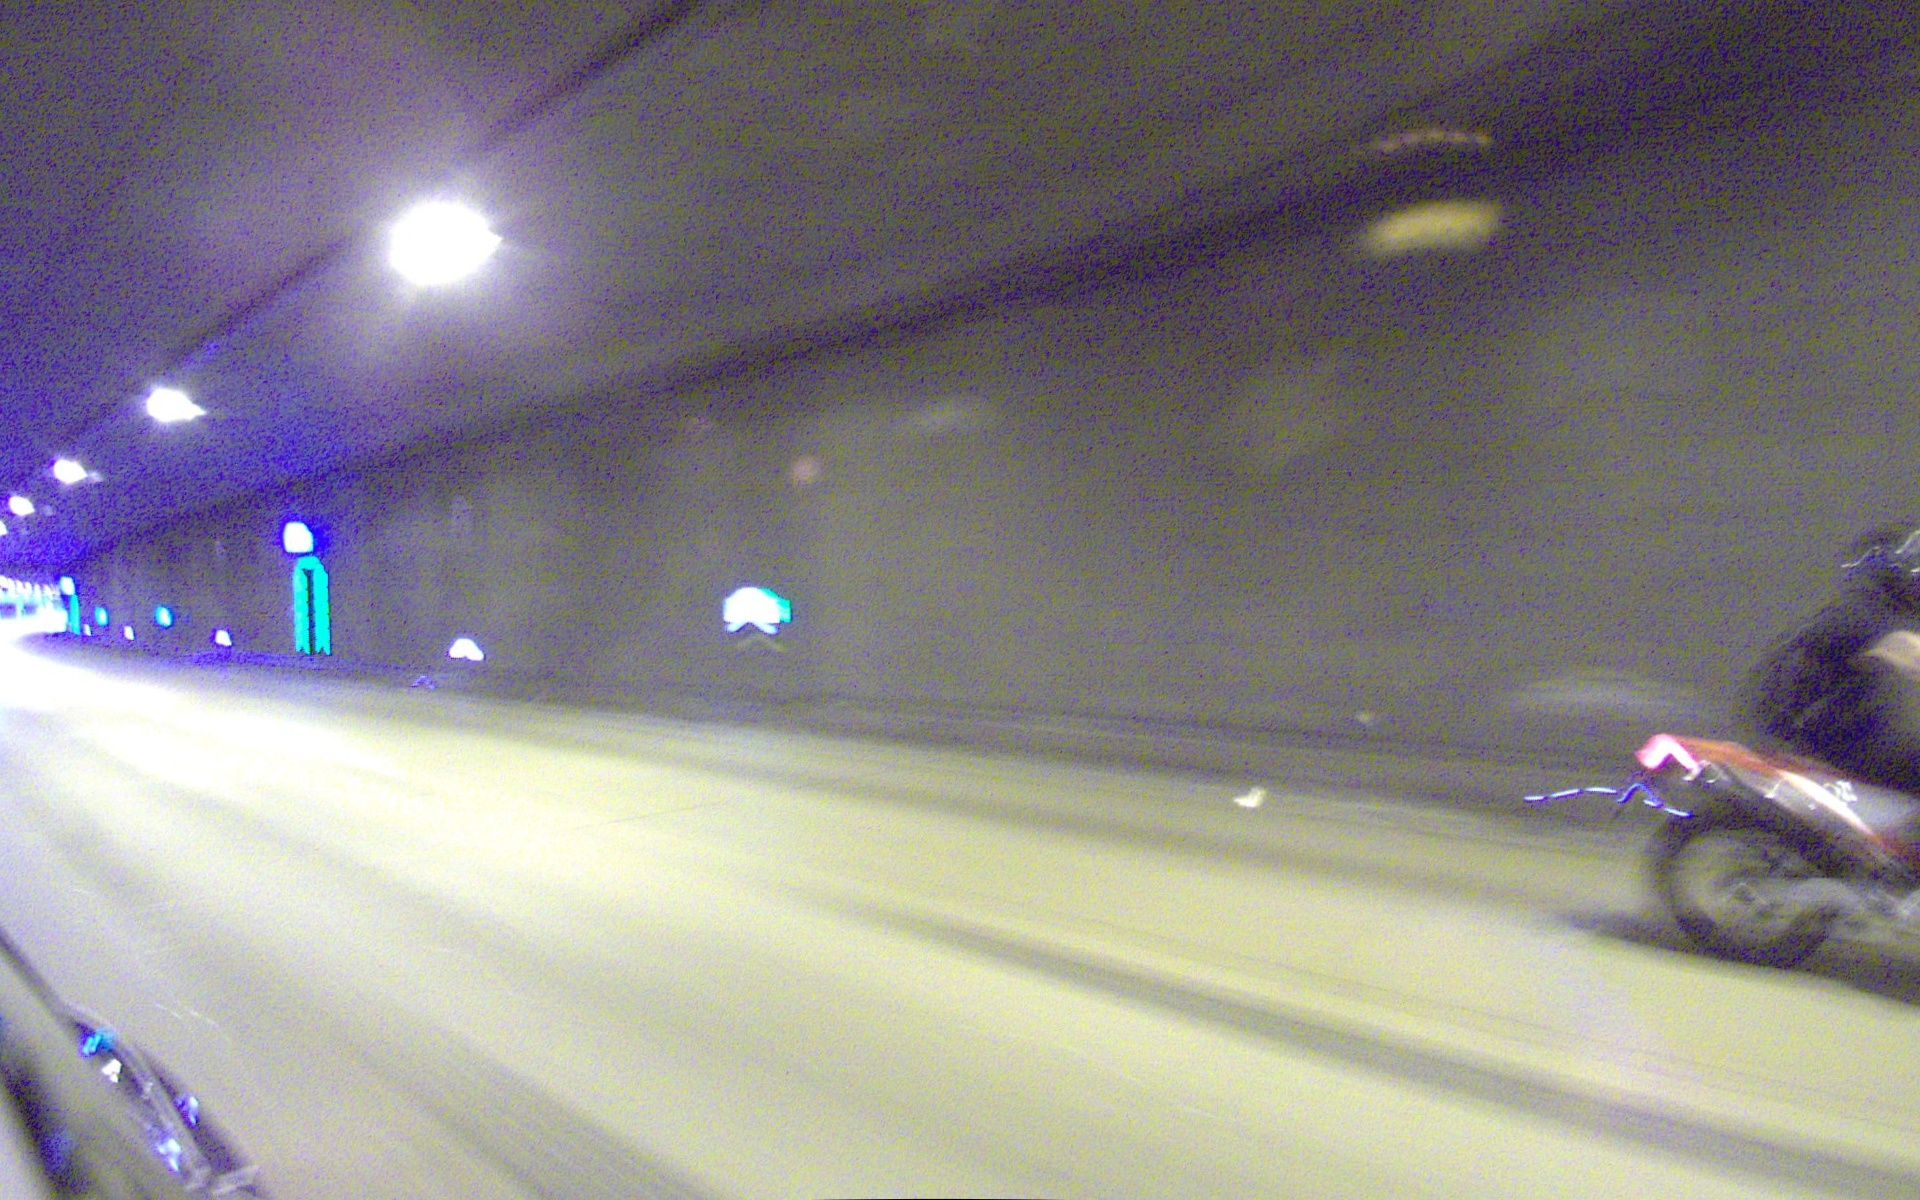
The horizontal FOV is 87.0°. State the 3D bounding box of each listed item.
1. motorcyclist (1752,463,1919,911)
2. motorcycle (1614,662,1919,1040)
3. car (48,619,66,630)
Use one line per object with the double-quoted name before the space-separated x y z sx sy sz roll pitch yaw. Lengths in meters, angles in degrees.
"motorcyclist" 3.461 0.297 3.589 0.619 1.500 0.892 2 -2 -38
"motorcycle" 3.736 0.842 3.346 1.040 1.166 2.432 0 -1 -39
"car" -152.151 4.131 170.567 1.967 1.812 4.009 0 -1 -37
